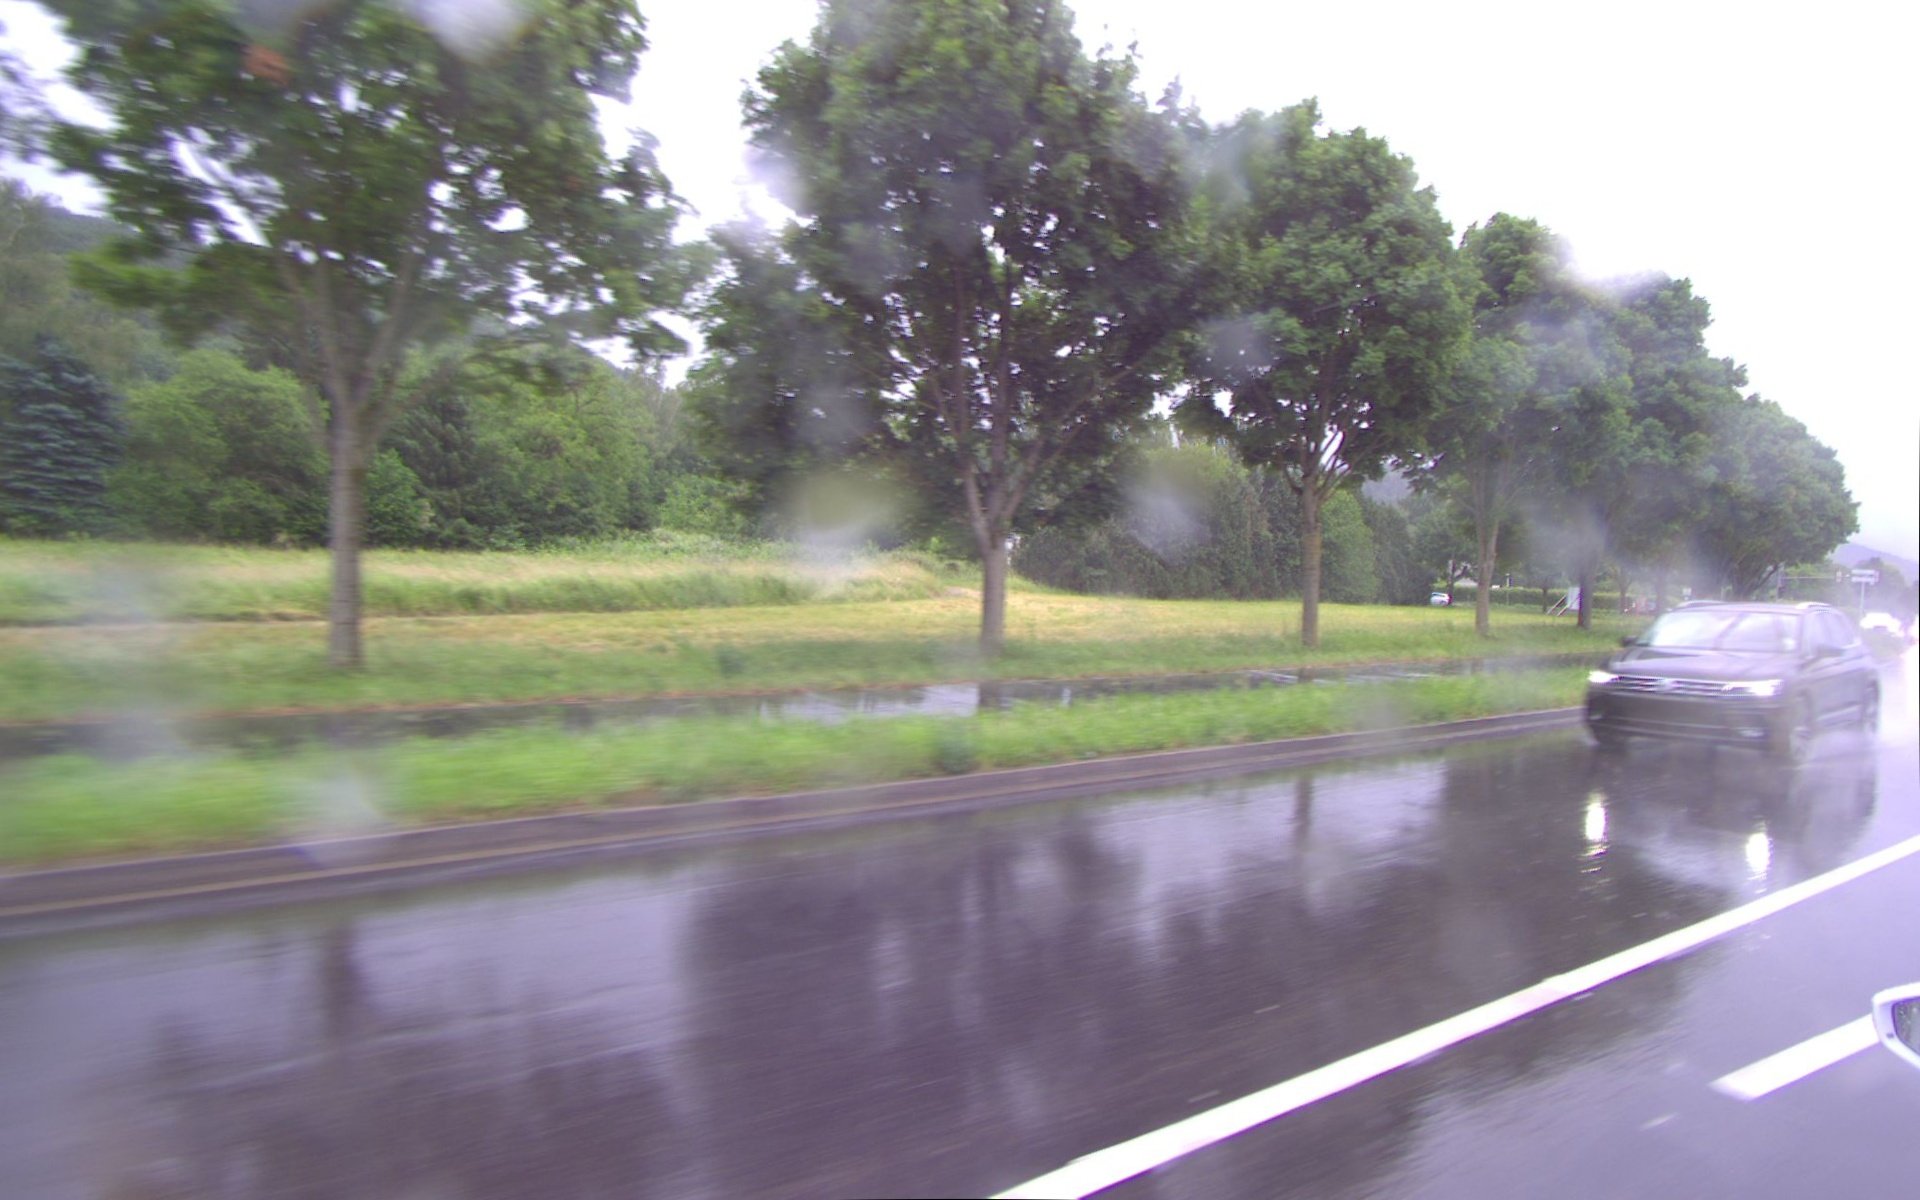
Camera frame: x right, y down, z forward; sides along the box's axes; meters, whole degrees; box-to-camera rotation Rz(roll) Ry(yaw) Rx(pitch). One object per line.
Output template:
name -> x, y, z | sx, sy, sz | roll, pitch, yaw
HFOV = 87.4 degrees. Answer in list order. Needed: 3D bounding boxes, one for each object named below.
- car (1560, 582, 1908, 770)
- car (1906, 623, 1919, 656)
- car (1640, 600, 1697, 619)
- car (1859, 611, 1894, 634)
car -> 8.849, 0.735, 11.398 | 4.245, 1.766, 1.912 | 1, 0, -35
car -> 50.506, 2.098, 52.035 | 4.091, 1.609, 1.865 | 1, 4, -44
car -> 71.033, 0.960, 100.761 | 1.721, 1.601, 4.332 | 1, 3, -44
car -> 68.463, 1.691, 75.086 | 1.858, 1.594, 4.619 | 2, 0, 42
